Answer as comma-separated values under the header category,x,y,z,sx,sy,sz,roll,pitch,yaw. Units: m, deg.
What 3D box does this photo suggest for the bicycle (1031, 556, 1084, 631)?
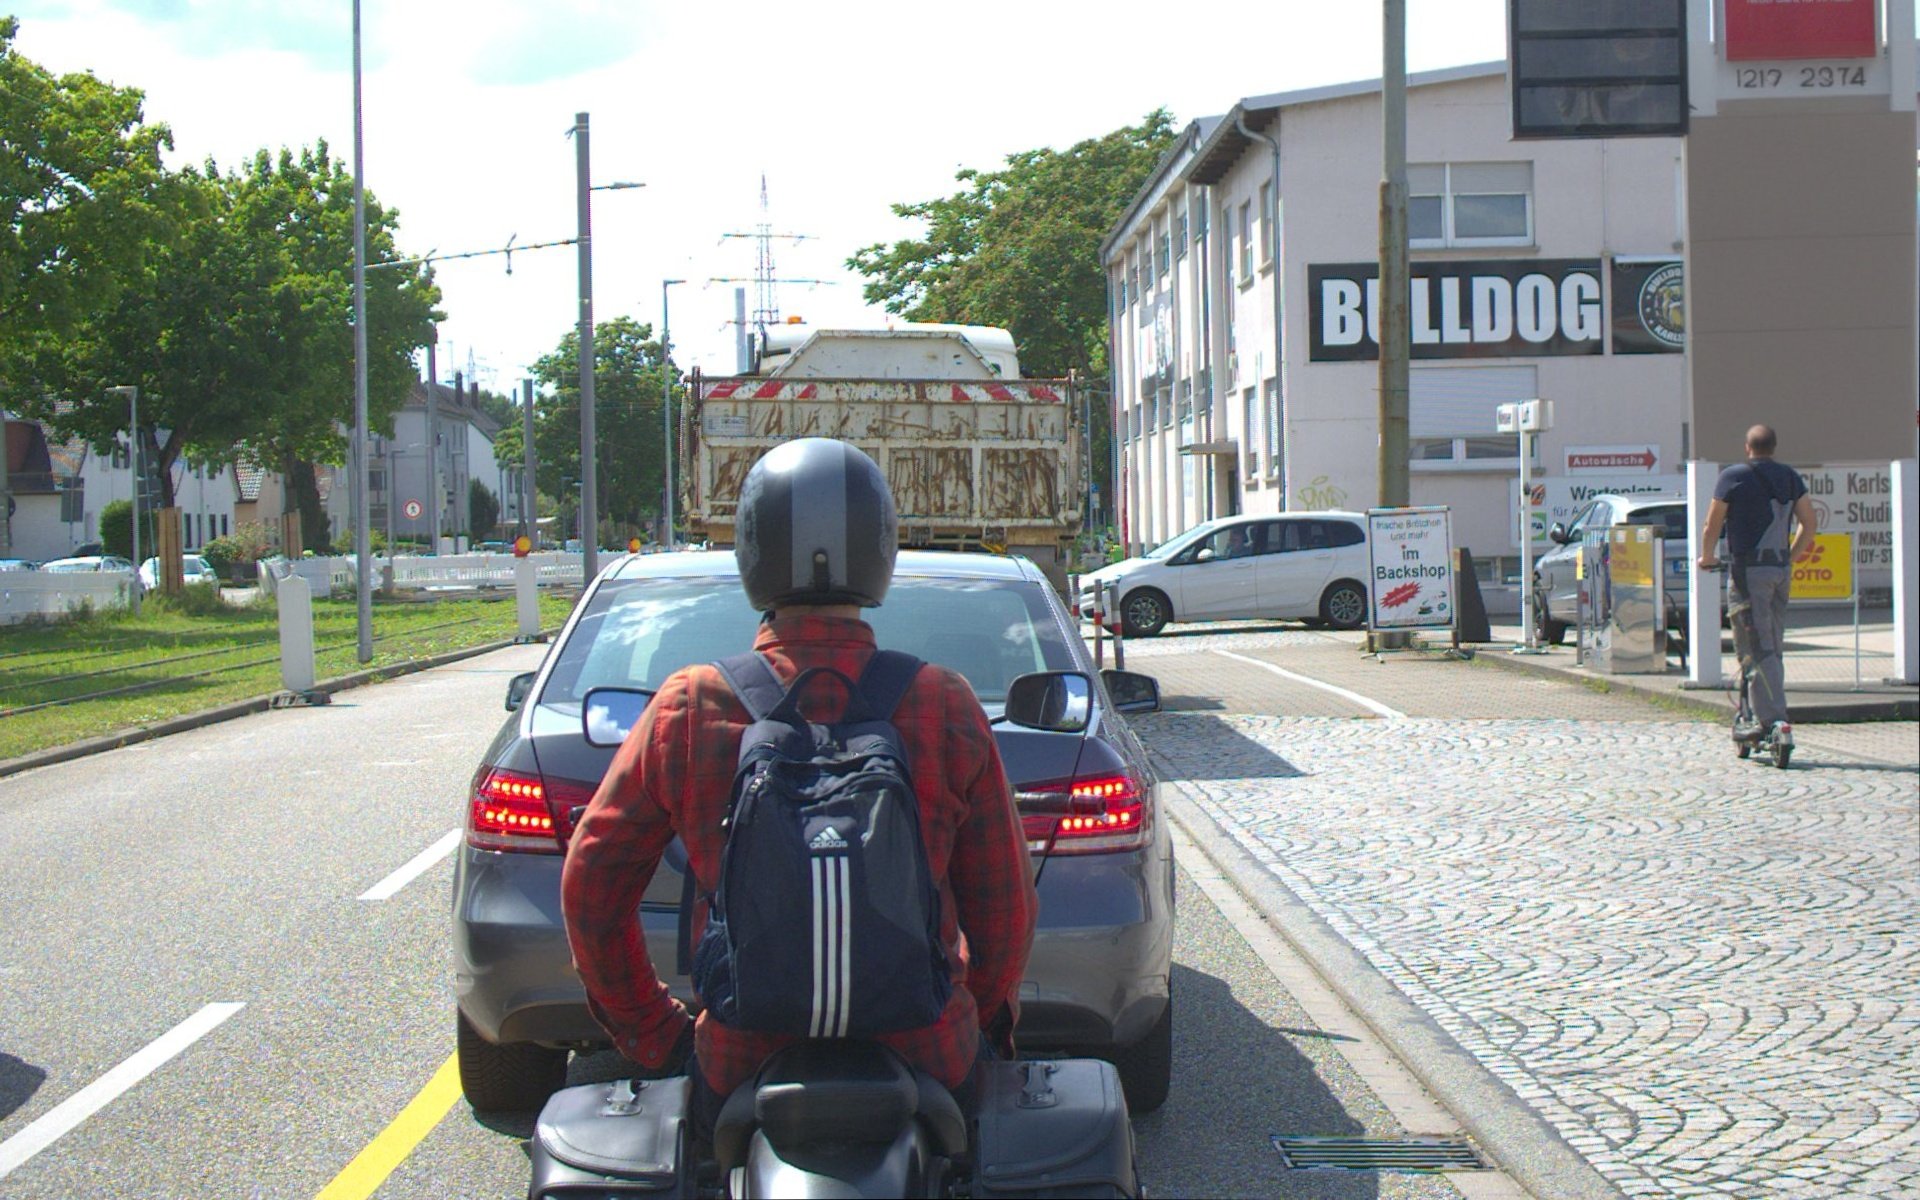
category,x,y,z,sx,sy,sz,roll,pitch,yaw
bicycle,1.880,-0.129,65.782,0.693,1.357,2.418,-1,1,9

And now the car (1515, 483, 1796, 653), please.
category,x,y,z,sx,sy,sz,roll,pitch,yaw
car,7.310,-0.346,36.544,1.959,1.643,4.000,-2,1,-3

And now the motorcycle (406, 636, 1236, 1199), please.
category,x,y,z,sx,sy,sz,roll,pitch,yaw
motorcycle,-0.181,0.756,5.258,0.939,1.316,2.645,1,1,-1

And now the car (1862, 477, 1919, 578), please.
category,x,y,z,sx,sy,sz,roll,pitch,yaw
car,17.225,-1.252,56.940,3.987,1.643,1.966,-2,1,-1

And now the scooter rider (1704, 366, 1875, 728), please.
category,x,y,z,sx,sy,sz,roll,pitch,yaw
scooter rider,4.603,-0.295,19.120,0.717,1.956,0.785,-1,1,-1

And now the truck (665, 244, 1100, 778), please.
category,x,y,z,sx,sy,sz,roll,pitch,yaw
truck,-0.487,-0.652,26.047,2.610,3.245,9.182,-2,1,0

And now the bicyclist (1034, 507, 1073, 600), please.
category,x,y,z,sx,sy,sz,roll,pitch,yaw
bicyclist,1.784,-0.893,65.657,0.671,1.738,0.813,-1,1,0

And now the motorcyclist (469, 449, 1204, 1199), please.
category,x,y,z,sx,sy,sz,roll,pitch,yaw
motorcyclist,-0.173,0.607,5.074,0.939,1.609,1.205,1,1,-1

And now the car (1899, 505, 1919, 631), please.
category,x,y,z,sx,sy,sz,roll,pitch,yaw
car,11.814,-0.375,37.279,1.959,1.415,4.000,-2,1,-3

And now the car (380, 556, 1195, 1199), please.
category,x,y,z,sx,sy,sz,roll,pitch,yaw
car,-0.410,0.610,9.730,1.821,1.419,4.000,0,1,-1

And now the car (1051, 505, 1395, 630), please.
category,x,y,z,sx,sy,sz,roll,pitch,yaw
car,3.581,-0.450,47.201,4.329,1.546,1.950,-2,1,-8

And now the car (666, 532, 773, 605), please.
category,x,y,z,sx,sy,sz,roll,pitch,yaw
car,-4.840,-0.639,69.702,1.846,1.382,4.344,-2,1,0

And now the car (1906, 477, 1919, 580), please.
category,x,y,z,sx,sy,sz,roll,pitch,yaw
car,17.263,-1.201,54.395,3.987,1.643,1.966,-2,1,-1

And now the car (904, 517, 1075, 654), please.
category,x,y,z,sx,sy,sz,roll,pitch,yaw
car,0.313,-0.198,38.922,1.821,1.459,4.000,0,1,0

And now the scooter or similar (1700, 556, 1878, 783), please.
category,x,y,z,sx,sy,sz,roll,pitch,yaw
scooter or similar,4.571,0.359,19.031,0.540,1.191,1.611,-2,1,-1
